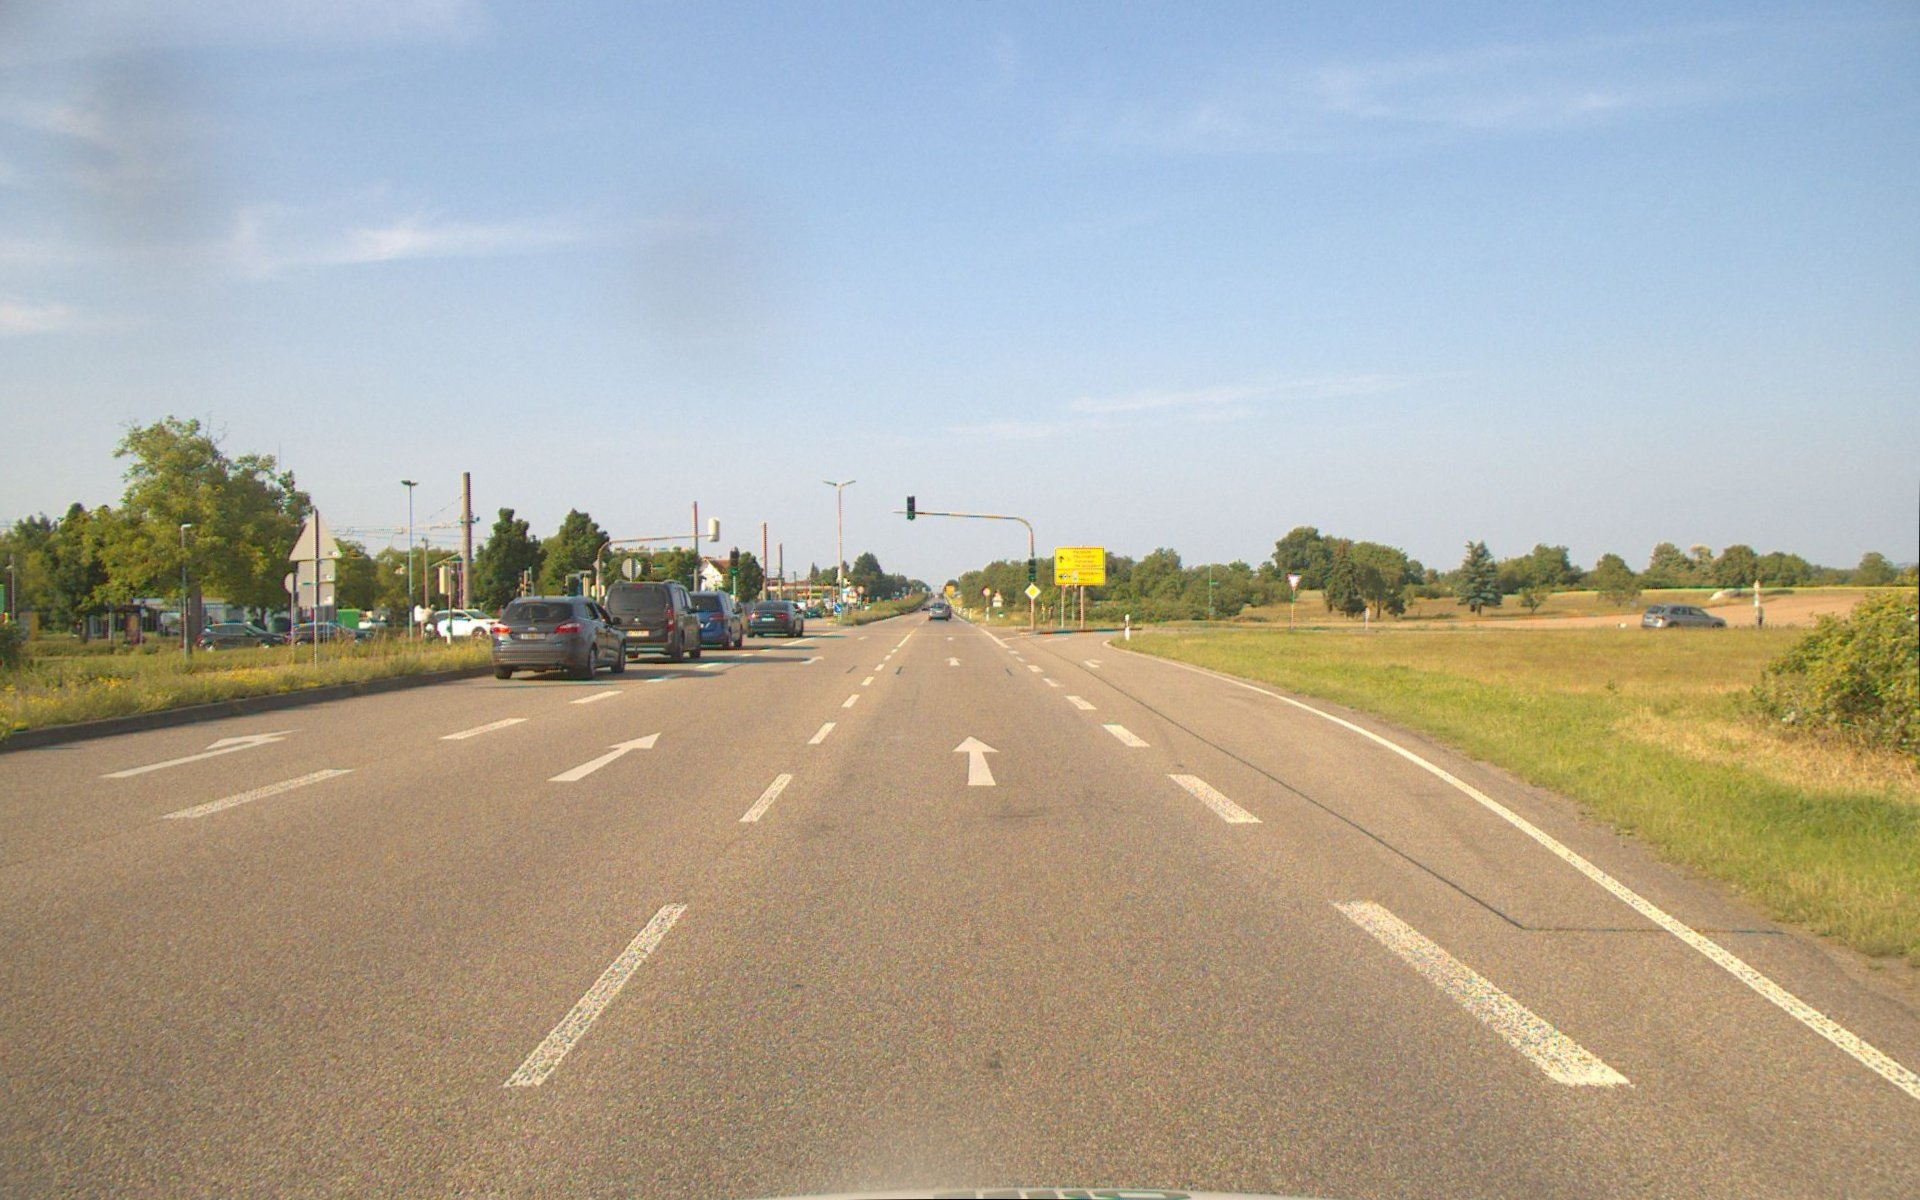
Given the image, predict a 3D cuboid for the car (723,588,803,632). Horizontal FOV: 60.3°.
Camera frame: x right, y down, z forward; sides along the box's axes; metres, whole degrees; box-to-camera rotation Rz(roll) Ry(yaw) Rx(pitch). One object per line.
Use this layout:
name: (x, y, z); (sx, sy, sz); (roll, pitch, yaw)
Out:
car: (-9.289, 0.458, 77.853); (1.820, 2.049, 3.937); (0, 0, -43)

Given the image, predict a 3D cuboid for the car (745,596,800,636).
car: (-7.362, 0.614, 65.192); (1.733, 1.497, 4.015); (0, 0, 0)

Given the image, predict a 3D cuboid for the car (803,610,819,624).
car: (-18.950, 2.125, 210.576); (1.653, 1.691, 3.758); (0, 0, 0)

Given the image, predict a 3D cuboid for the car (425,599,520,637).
car: (-22.850, 0.867, 77.567); (3.905, 1.691, 1.887); (1, -2, 22)

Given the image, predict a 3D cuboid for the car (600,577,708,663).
car: (-7.061, 0.431, 38.566); (1.697, 1.888, 4.520); (0, 0, 0)

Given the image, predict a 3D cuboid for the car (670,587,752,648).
car: (-7.295, 0.493, 48.847); (1.733, 1.709, 4.520); (0, 0, 0)

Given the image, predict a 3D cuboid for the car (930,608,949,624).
car: (-2.096, 1.673, 173.846); (1.953, 1.579, 4.000); (0, 0, 0)

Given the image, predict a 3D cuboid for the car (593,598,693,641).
car: (-15.633, 0.965, 81.841); (4.729, 2.049, 1.997); (0, -2, -7)

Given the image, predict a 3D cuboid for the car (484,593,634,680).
car: (-7.360, 0.620, 30.774); (1.697, 1.481, 4.520); (0, 0, 0)

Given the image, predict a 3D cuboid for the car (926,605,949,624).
car: (-1.921, 1.225, 143.195); (1.953, 1.579, 4.000); (0, 0, 0)

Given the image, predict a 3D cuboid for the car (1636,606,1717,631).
car: (36.942, 0.953, 85.340); (3.561, 1.240, 1.560); (0, 0, -9)

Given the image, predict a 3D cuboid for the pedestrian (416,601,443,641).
pedestrian: (-23.593, 0.925, 73.556); (0.898, 1.736, 1.066); (1, -2, -6)
